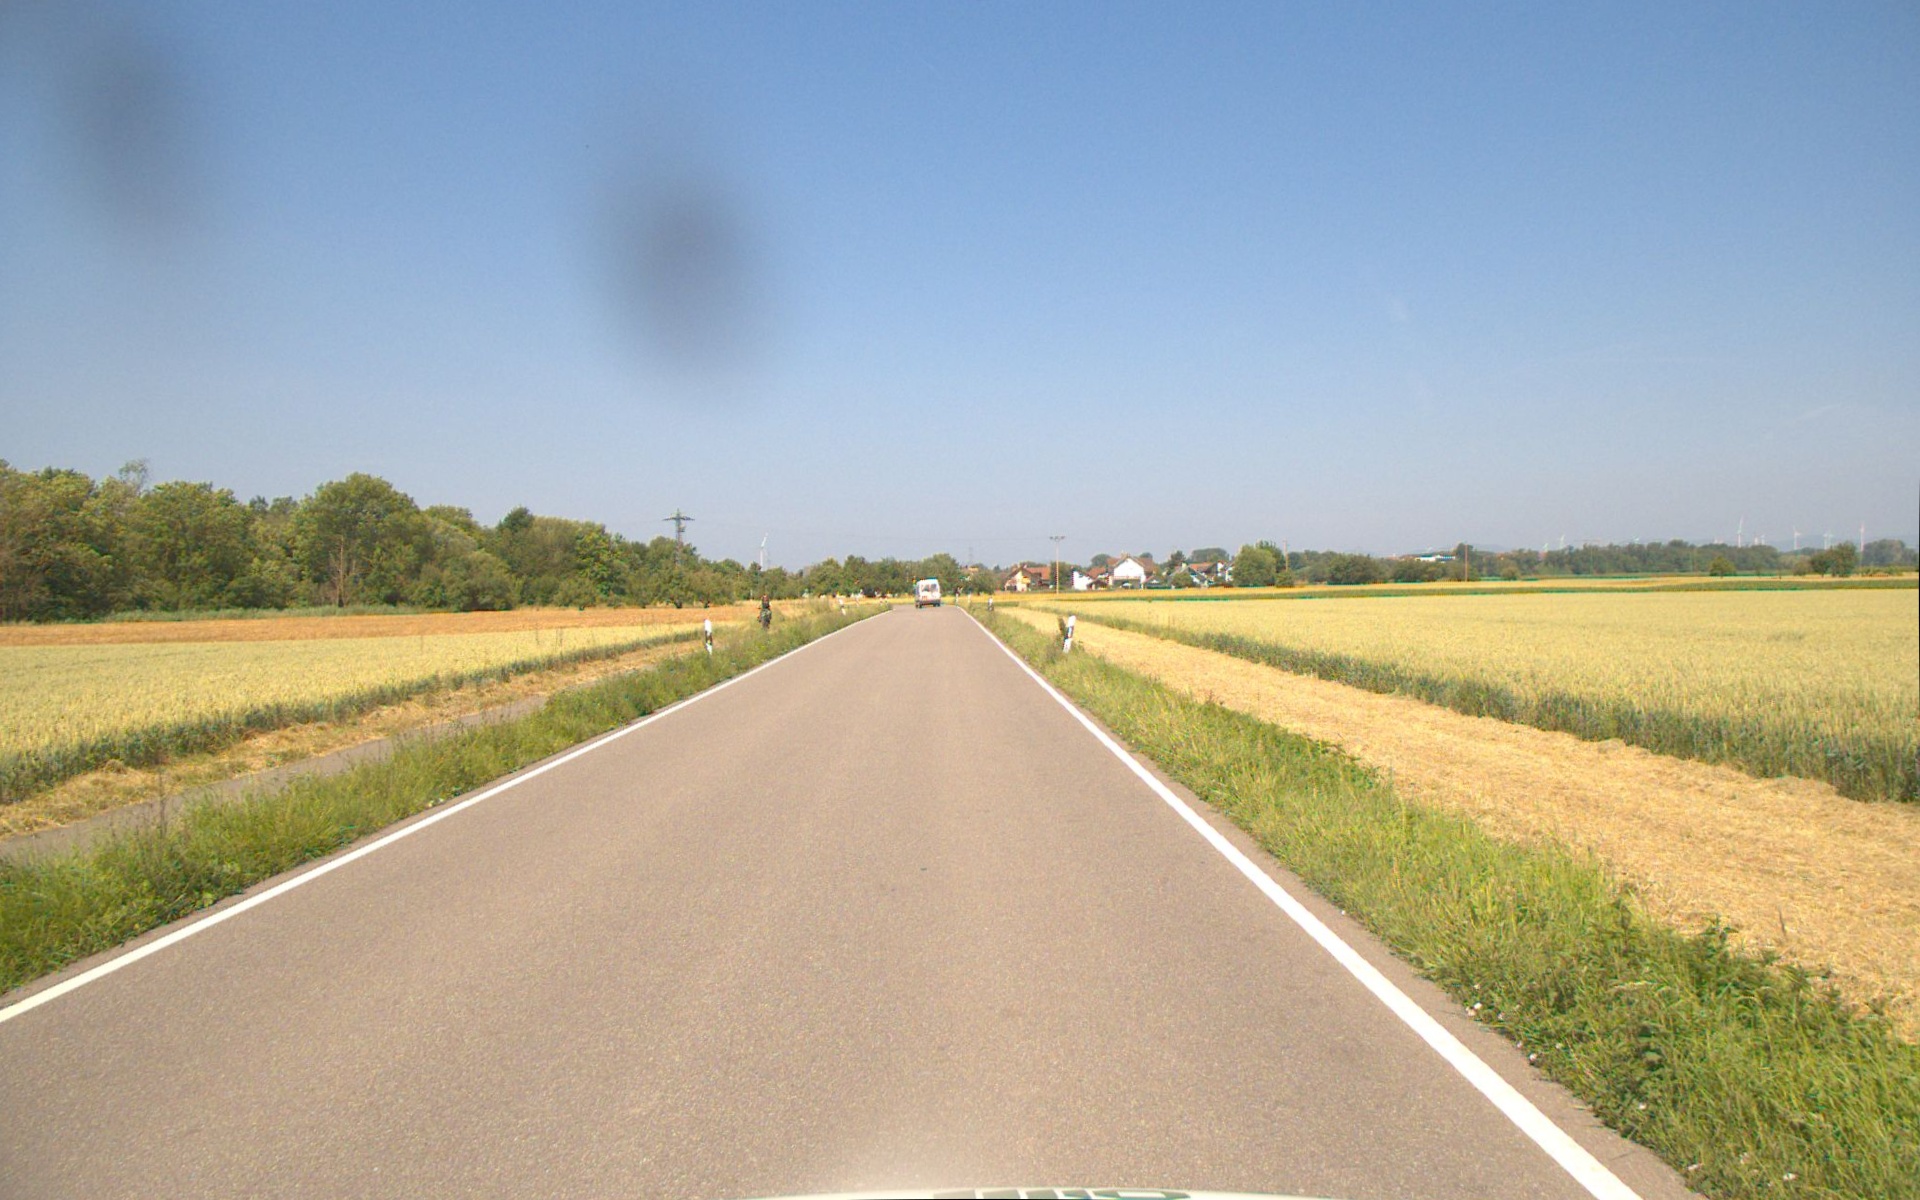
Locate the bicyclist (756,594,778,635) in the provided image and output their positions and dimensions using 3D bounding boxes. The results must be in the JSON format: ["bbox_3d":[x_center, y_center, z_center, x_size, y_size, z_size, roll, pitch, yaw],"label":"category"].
[{"bbox_3d":[-8.102,0.608,69.558,0.744,1.702,1.088,-3,0,-1],"label":"bicyclist"}]

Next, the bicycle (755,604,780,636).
[{"bbox_3d":[-8.112,0.834,69.683,0.744,1.257,2.393,-3,0,-1],"label":"bicycle"}]

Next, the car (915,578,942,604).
[{"bbox_3d":[-2.943,-0.830,154.013,2.066,2.344,5.490,1,0,-5],"label":"car"}]
